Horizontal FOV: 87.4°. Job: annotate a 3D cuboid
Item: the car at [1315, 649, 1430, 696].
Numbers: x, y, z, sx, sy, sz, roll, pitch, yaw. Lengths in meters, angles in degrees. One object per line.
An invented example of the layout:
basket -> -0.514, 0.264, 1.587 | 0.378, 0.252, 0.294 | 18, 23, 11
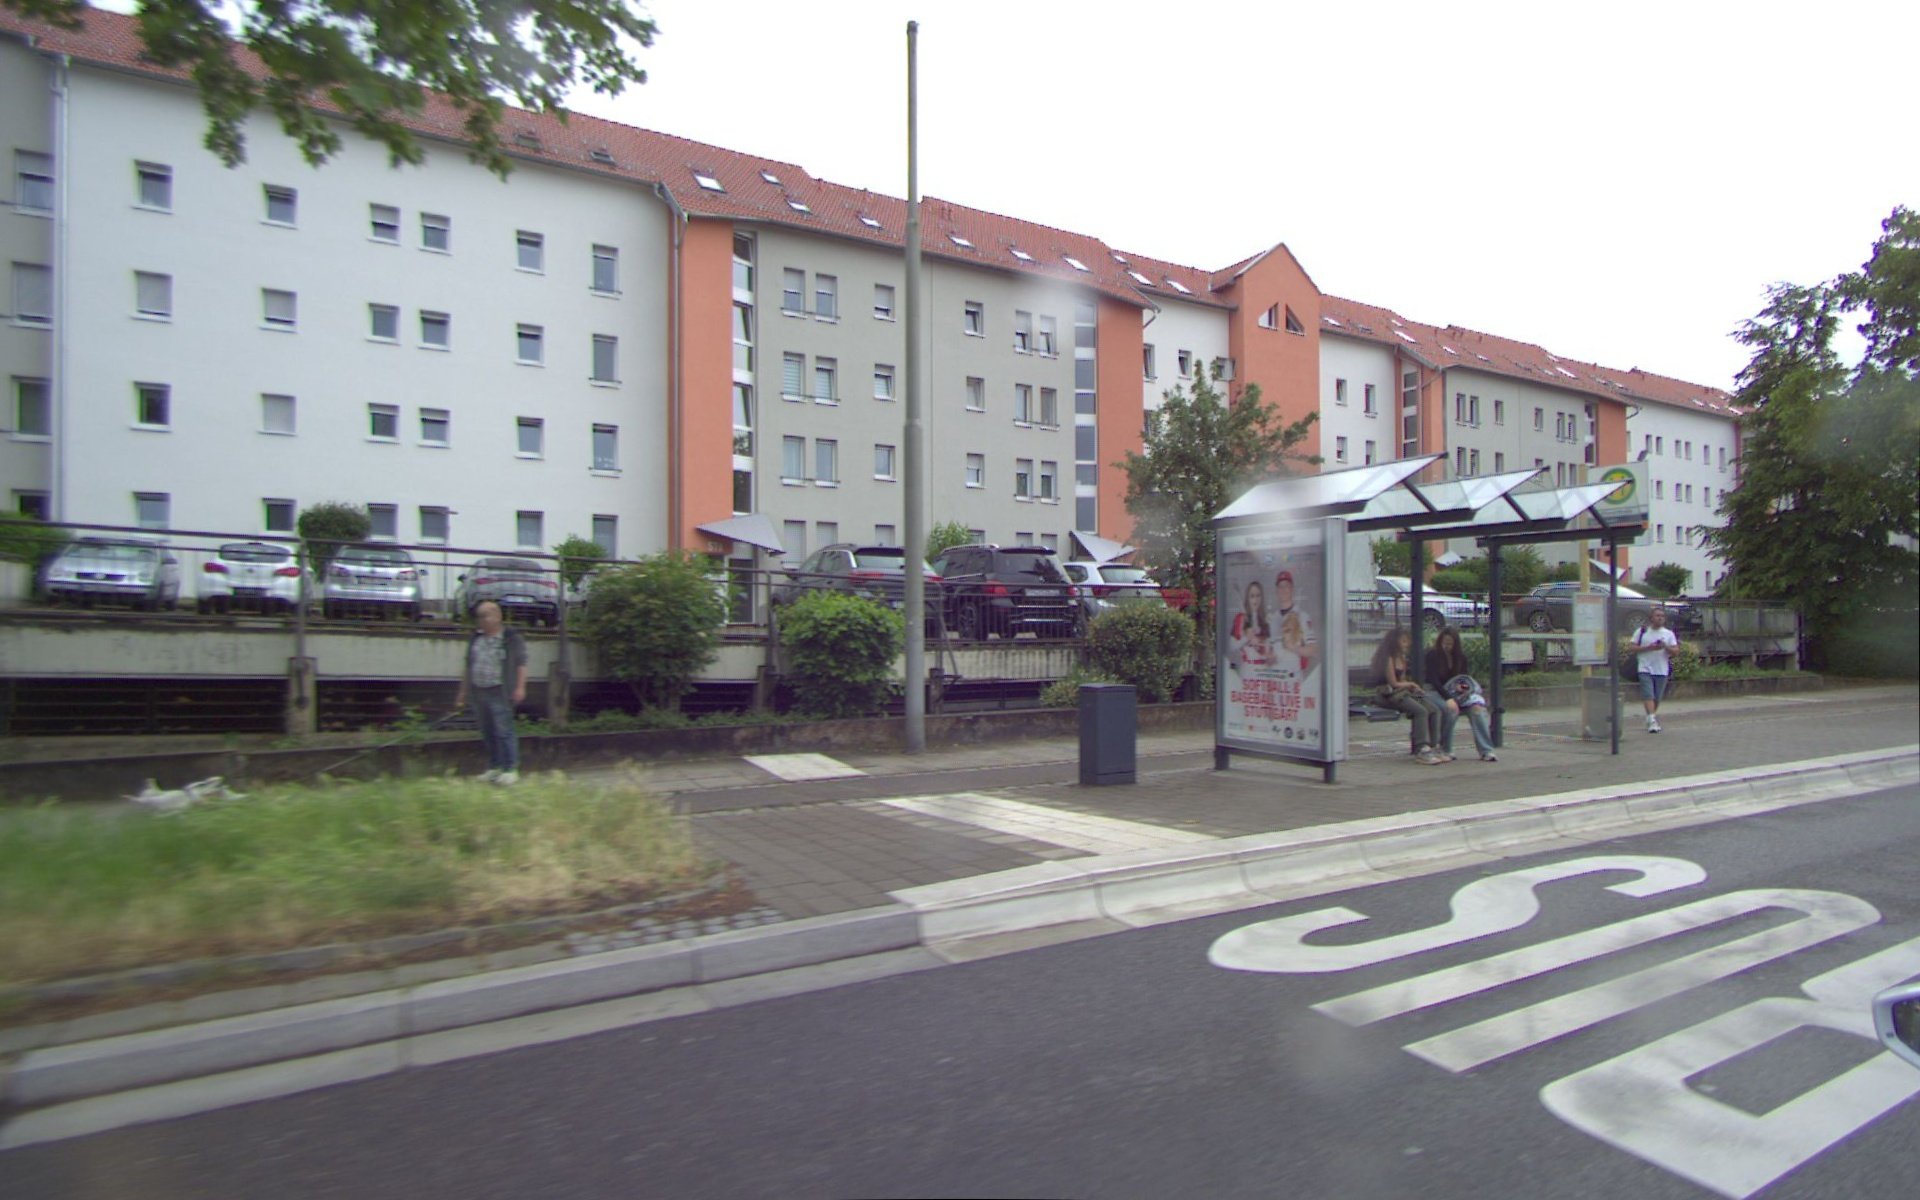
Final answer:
car -> 15.715, 2.746, 38.437 | 1.699, 1.531, 3.790 | 3, -1, -31

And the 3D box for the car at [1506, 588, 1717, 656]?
car -> 18.063, 0.565, 28.075 | 1.977, 1.694, 4.522 | 3, -1, -30

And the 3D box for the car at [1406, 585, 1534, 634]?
car -> 18.432, 0.331, 36.427 | 1.699, 1.623, 3.790 | 3, -1, -31

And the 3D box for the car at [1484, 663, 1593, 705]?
car -> 23.439, 3.380, 40.813 | 1.526, 1.412, 3.579 | 1, -1, -31

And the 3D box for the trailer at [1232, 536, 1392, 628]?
trailer -> 6.911, -0.333, 19.924 | 1.462, 1.667, 2.692 | 2, 0, -29

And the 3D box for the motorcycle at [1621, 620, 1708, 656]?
motorcycle -> 19.839, 1.059, 28.339 | 0.562, 0.925, 1.943 | 3, 0, -29

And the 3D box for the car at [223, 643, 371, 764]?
car -> -10.059, 1.471, 15.459 | 1.594, 1.494, 3.691 | 1, -1, -29

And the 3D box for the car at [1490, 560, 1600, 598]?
car -> 23.892, -0.856, 41.130 | 1.526, 1.412, 3.579 | 3, -1, -31

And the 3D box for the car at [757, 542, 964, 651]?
car -> -1.726, -0.053, 16.401 | 1.878, 1.518, 3.631 | 3, -1, -33

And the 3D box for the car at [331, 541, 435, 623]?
car -> -12.276, -0.367, 21.564 | 1.663, 1.527, 3.972 | 3, -1, -27

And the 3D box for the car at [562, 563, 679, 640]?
car -> -7.966, 0.026, 23.363 | 1.975, 1.550, 3.972 | 3, -1, -27

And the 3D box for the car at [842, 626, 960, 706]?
car -> -1.783, 1.815, 28.962 | 1.974, 2.040, 3.972 | 1, -1, -27

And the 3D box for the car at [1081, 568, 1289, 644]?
car -> 4.384, 0.096, 20.172 | 1.789, 1.320, 4.069 | 3, -1, -30

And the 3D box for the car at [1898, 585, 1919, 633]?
car -> 42.343, 0.403, 42.074 | 1.697, 2.040, 4.152 | 1, -1, -27

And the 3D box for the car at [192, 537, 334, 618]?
car -> -14.210, -0.430, 20.705 | 1.825, 1.433, 3.972 | 3, -1, -27

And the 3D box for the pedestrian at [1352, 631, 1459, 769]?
pedestrian -> 4.520, 0.998, 10.225 | 0.632, 1.334, 0.773 | 3, -4, -26

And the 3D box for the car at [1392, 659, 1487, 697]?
car -> 21.507, 3.475, 45.154 | 1.526, 1.412, 3.579 | 3, -1, -31

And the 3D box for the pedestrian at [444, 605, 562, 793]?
pedestrian -> -4.251, 0.885, 9.339 | 0.826, 1.632, 0.750 | 3, 0, -34

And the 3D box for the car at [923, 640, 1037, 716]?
car -> 0.537, 2.290, 30.632 | 1.917, 2.040, 3.893 | 1, -1, -27

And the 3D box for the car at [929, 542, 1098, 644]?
car -> 0.841, -0.110, 17.396 | 1.420, 1.563, 3.115 | 3, -1, -30

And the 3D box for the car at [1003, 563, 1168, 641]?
car -> 2.246, 0.029, 18.566 | 1.420, 1.287, 3.115 | 3, -1, -30

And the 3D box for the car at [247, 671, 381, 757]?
car -> -13.988, 2.407, 21.977 | 2.039, 1.415, 3.972 | 1, -1, -27

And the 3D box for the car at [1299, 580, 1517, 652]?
car -> 10.160, 0.326, 23.138 | 1.838, 1.443, 4.335 | 3, -1, -29

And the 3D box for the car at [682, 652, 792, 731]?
car -> -6.026, 2.357, 26.824 | 1.974, 1.773, 3.877 | 1, -1, -27

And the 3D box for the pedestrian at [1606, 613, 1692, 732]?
pedestrian -> 9.668, 1.025, 14.116 | 0.598, 1.618, 0.739 | 3, -5, -26

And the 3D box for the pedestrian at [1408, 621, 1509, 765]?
pedestrian -> 5.202, 0.960, 10.498 | 0.632, 1.436, 0.685 | 3, -4, -26

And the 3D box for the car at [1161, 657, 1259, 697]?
car -> 8.173, 2.502, 33.100 | 1.360, 1.097, 3.185 | 1, -1, -28

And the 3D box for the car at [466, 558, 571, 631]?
car -> -9.840, -0.118, 22.225 | 1.881, 1.415, 3.972 | 3, 0, -27

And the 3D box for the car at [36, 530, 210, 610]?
car -> -16.301, -0.540, 19.790 | 1.723, 1.335, 3.972 | 3, -1, -27

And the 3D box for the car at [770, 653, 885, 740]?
car -> -3.754, 2.580, 27.887 | 1.974, 2.040, 3.972 | 1, -1, -27

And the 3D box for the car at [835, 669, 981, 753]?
car -> -1.168, 2.220, 20.743 | 1.539, 1.320, 3.624 | 3, -1, -29
